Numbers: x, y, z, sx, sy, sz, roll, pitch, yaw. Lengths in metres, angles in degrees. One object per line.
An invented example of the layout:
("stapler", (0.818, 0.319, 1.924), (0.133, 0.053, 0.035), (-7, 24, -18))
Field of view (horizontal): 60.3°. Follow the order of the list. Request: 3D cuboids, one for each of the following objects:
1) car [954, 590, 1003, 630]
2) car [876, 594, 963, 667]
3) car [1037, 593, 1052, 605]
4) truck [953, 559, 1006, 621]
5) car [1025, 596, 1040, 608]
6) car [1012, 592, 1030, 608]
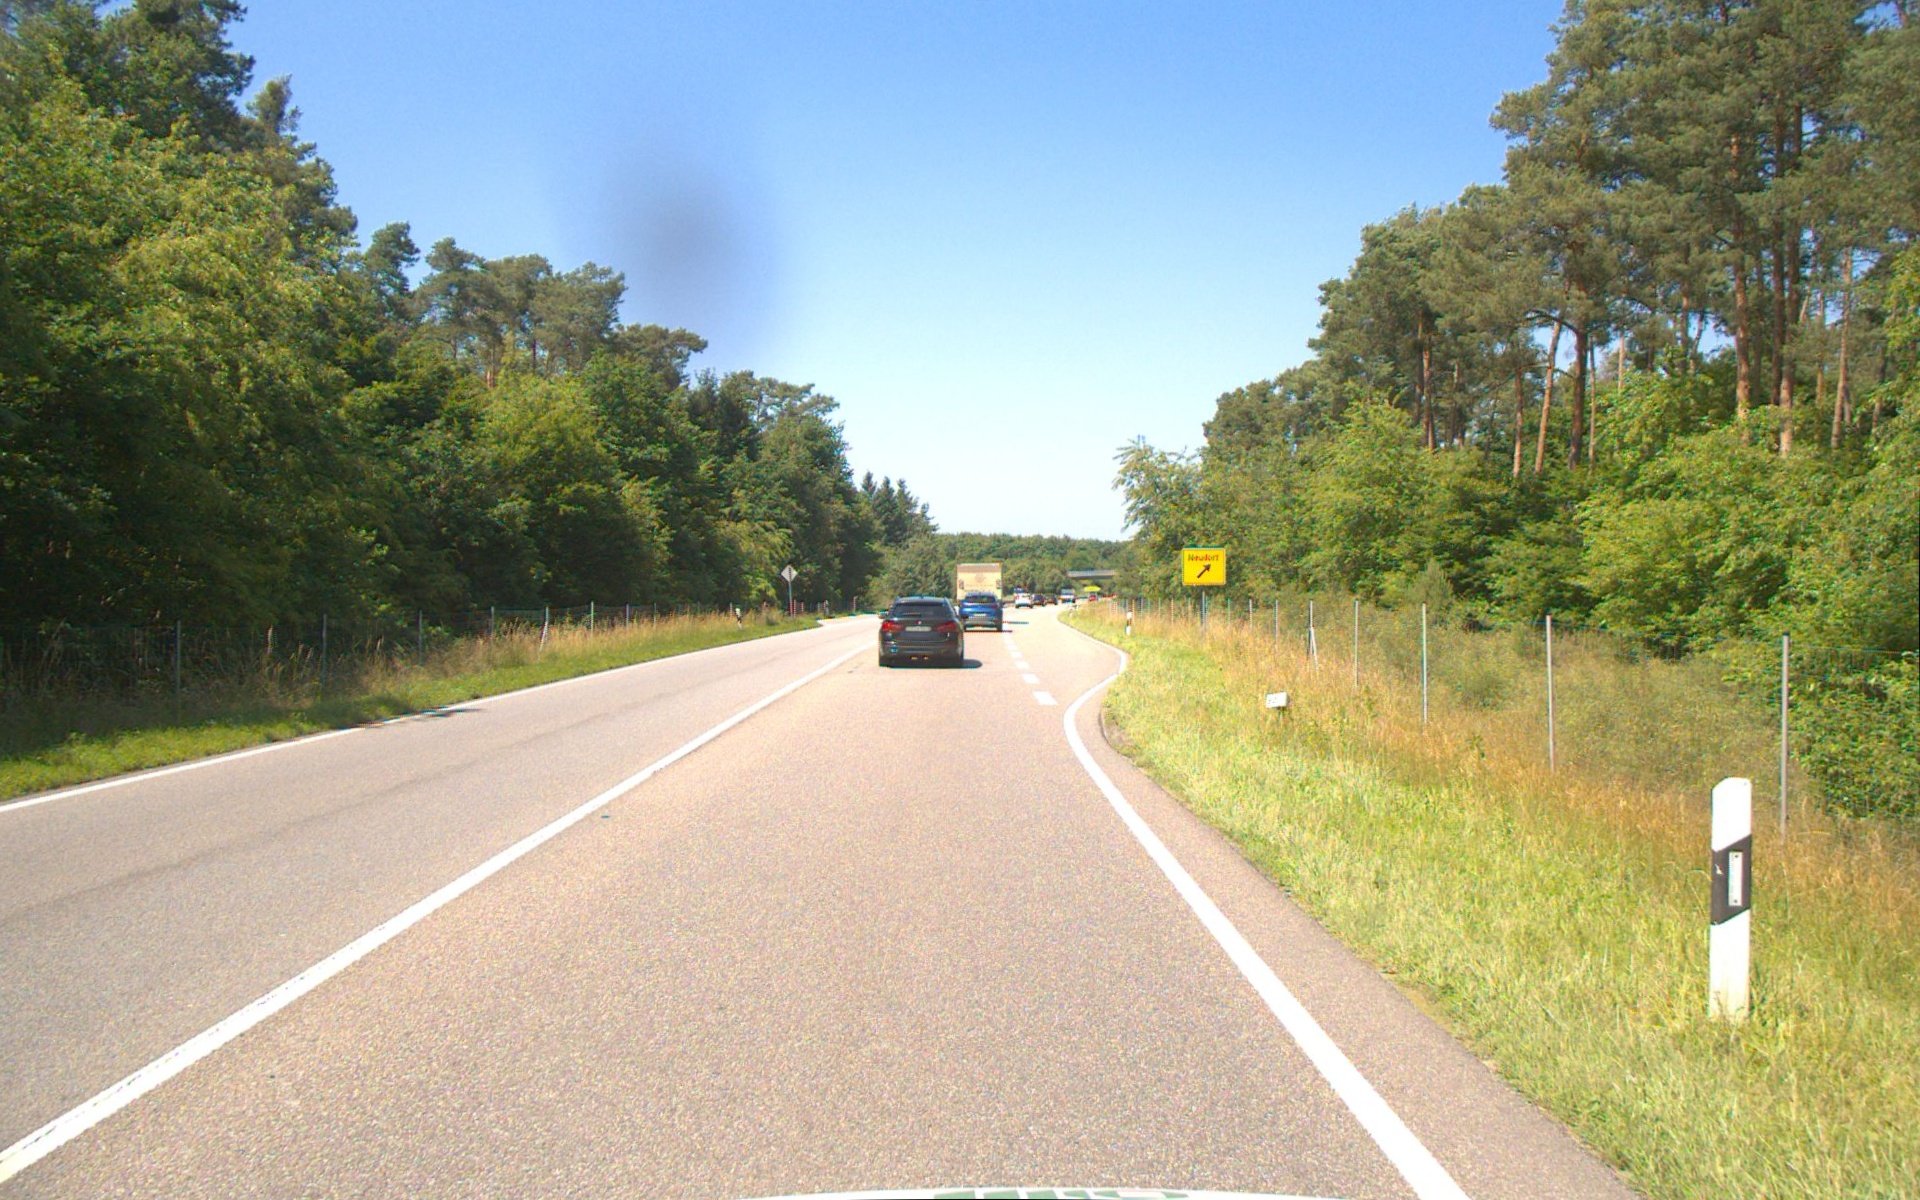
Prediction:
("car", (0.735, 0.397, 69.584), (1.908, 1.568, 3.999), (-1, 0, -1))
("car", (-0.941, 0.636, 36.461), (1.784, 1.496, 3.997), (0, 0, -3))
("car", (12.344, -0.172, 240.990), (1.951, 1.665, 4.002), (-1, 0, 5))
("truck", (1.107, -0.580, 93.954), (2.904, 3.447, 6.439), (0, 0, 1))
("car", (9.487, 0.230, 216.503), (1.952, 1.445, 4.001), (1, 0, 1))
("car", (6.906, -0.010, 187.297), (1.825, 1.633, 3.999), (2, 0, -1))
